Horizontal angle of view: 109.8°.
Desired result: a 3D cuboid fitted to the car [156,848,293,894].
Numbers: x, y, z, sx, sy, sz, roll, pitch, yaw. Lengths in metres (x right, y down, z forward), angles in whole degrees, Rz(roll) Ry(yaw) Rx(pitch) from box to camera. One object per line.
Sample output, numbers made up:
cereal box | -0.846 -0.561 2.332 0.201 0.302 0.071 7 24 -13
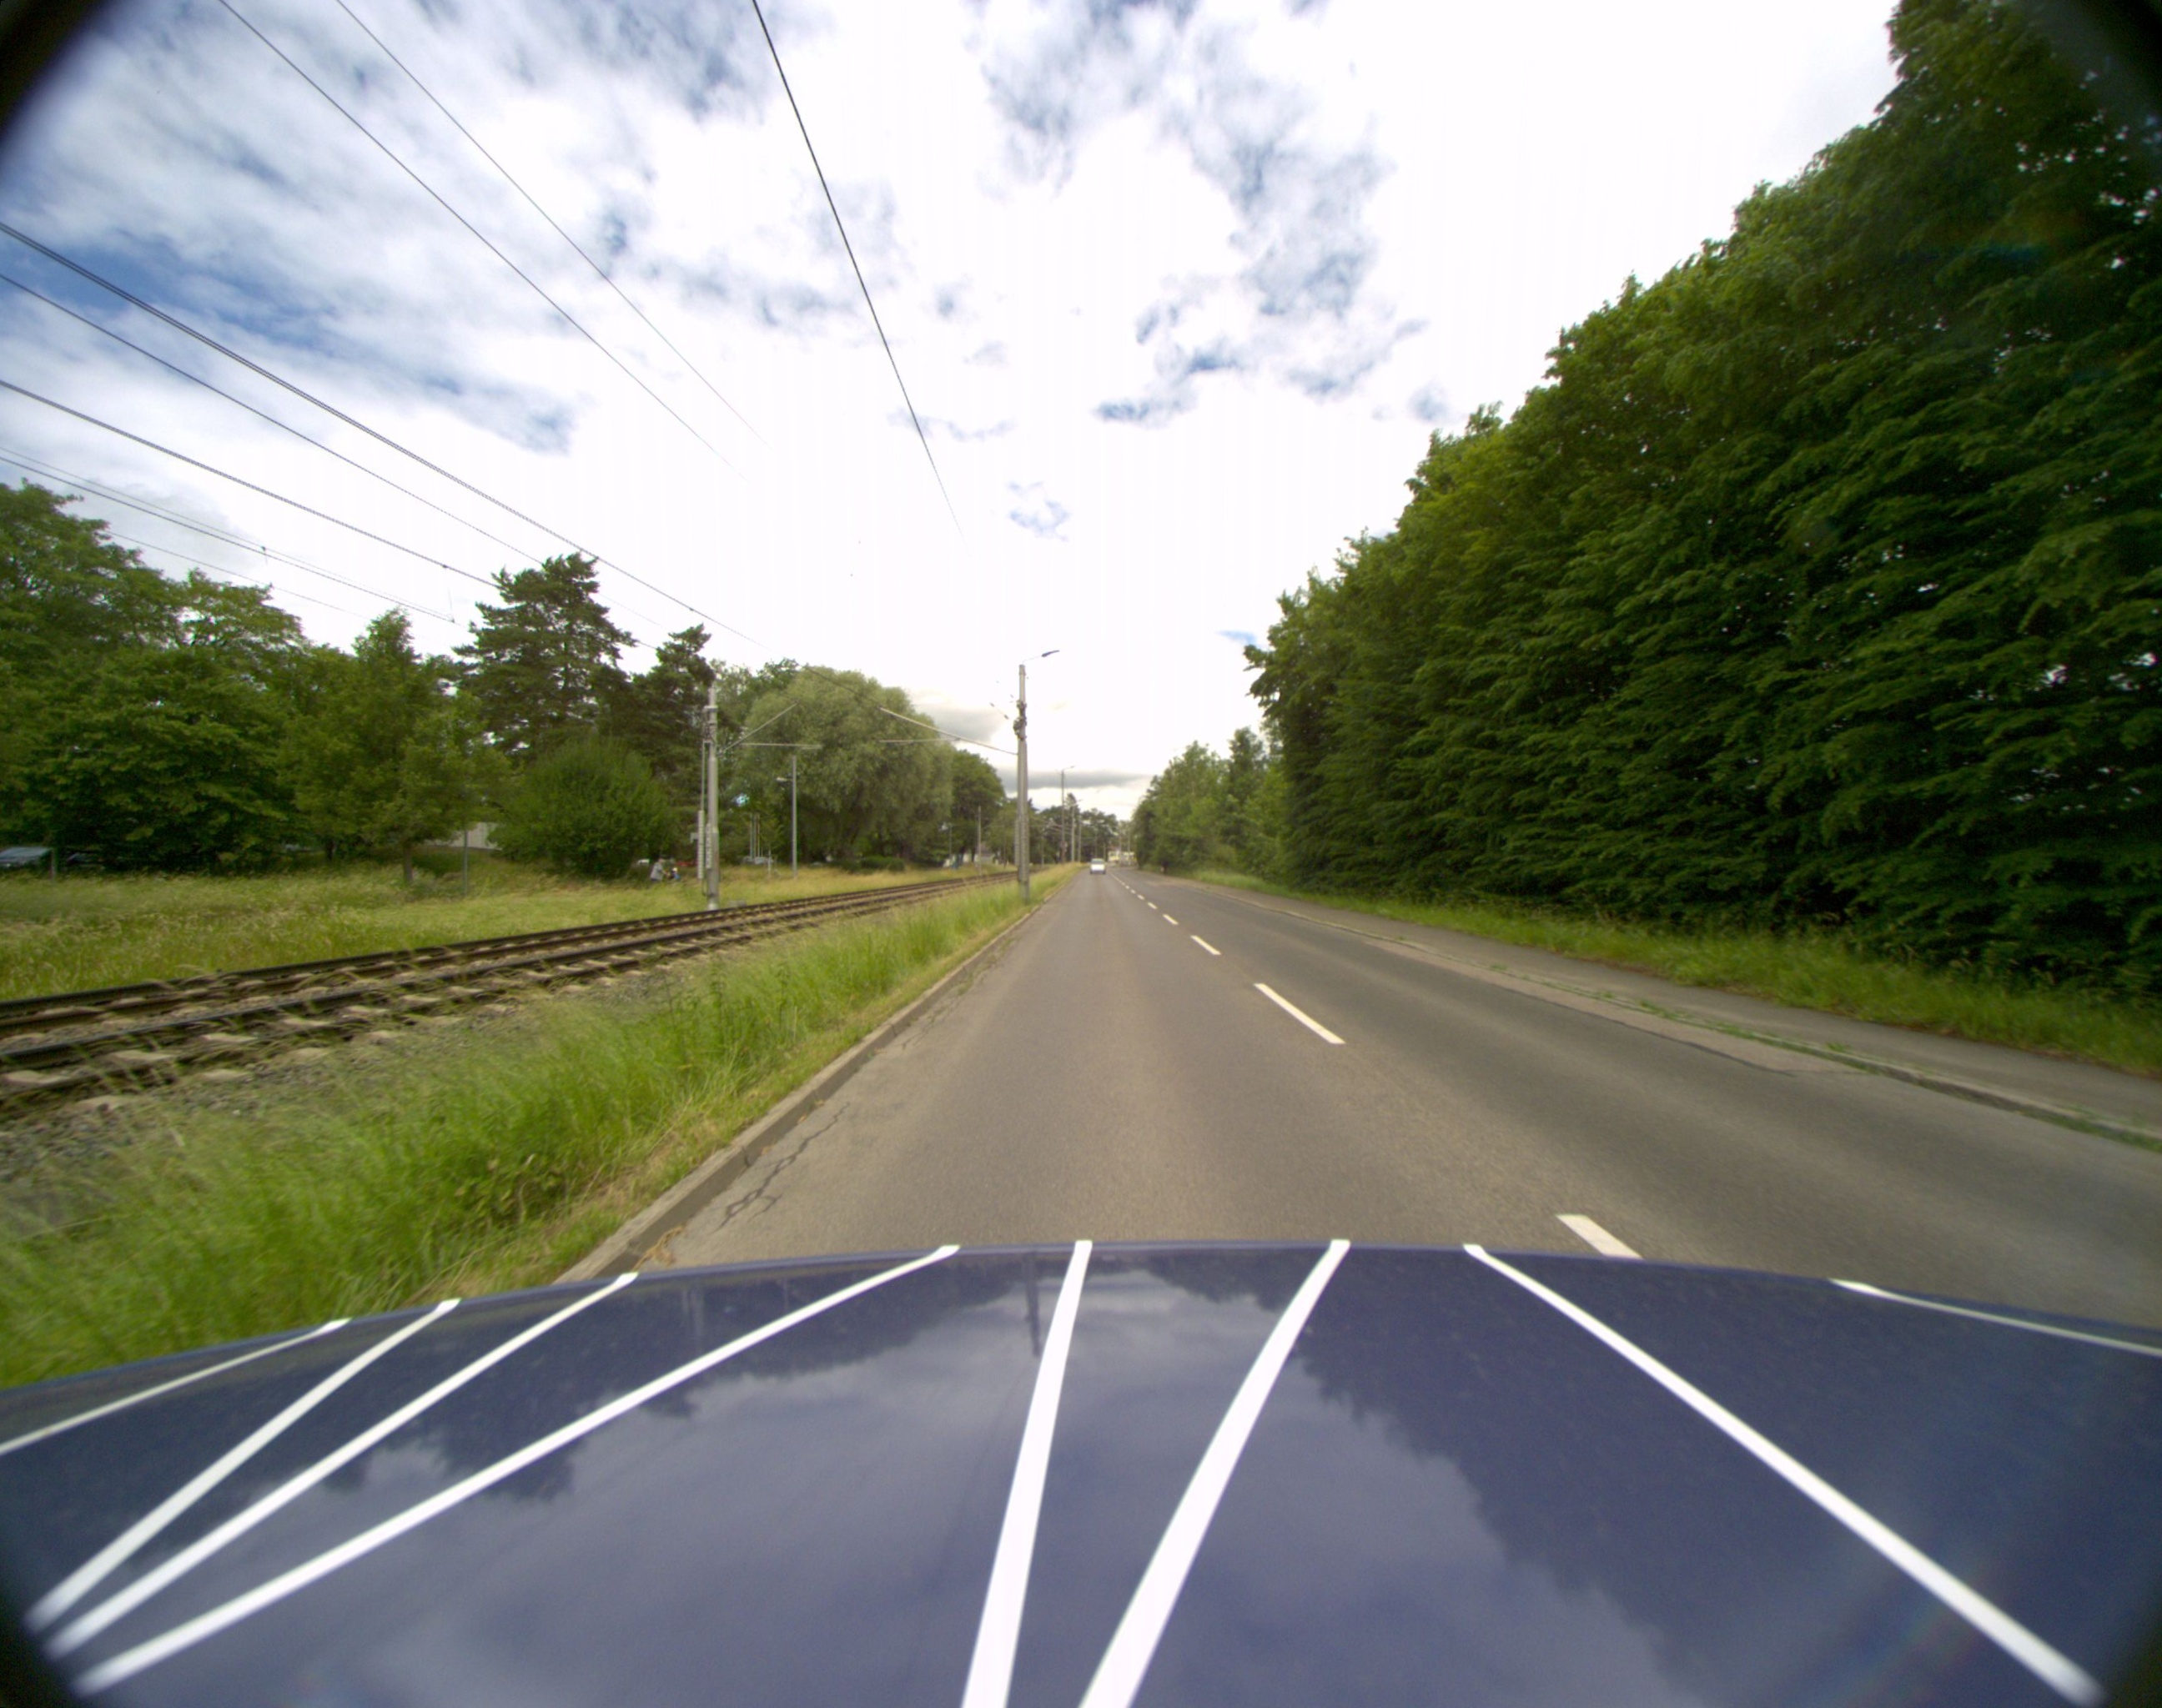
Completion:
car | -35.947 0.671 32.073 1.750 1.793 3.996 -1 0 -11

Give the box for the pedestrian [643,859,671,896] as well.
pedestrian | -19.297 1.055 34.596 0.656 1.657 0.960 1 1 42

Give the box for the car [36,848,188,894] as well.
car | -40.633 0.681 32.032 1.750 1.793 3.996 -1 0 -11

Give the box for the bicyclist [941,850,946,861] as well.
bicyclist | -21.116 0.195 116.348 0.582 1.686 0.935 0 0 -2

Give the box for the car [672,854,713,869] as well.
car | -39.213 0.729 76.826 1.998 1.434 4.000 0 0 1

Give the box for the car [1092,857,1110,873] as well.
car | 2.217 1.229 82.927 1.733 1.638 4.228 -1 -1 3

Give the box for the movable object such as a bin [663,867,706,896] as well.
movable object such as a bin | -18.479 1.256 35.429 0.658 1.302 1.646 1 1 42

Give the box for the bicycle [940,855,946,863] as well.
bicycle | -21.100 0.772 116.326 0.582 1.239 1.929 0 0 -2

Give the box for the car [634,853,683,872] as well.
car | -39.397 0.770 70.965 1.998 1.690 4.229 -1 0 2

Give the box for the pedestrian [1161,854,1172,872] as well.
pedestrian | 8.273 0.867 73.444 0.870 1.759 0.789 2 0 -5

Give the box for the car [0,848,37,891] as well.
car | -46.107 0.652 31.240 2.002 1.801 3.992 0 0 -24
